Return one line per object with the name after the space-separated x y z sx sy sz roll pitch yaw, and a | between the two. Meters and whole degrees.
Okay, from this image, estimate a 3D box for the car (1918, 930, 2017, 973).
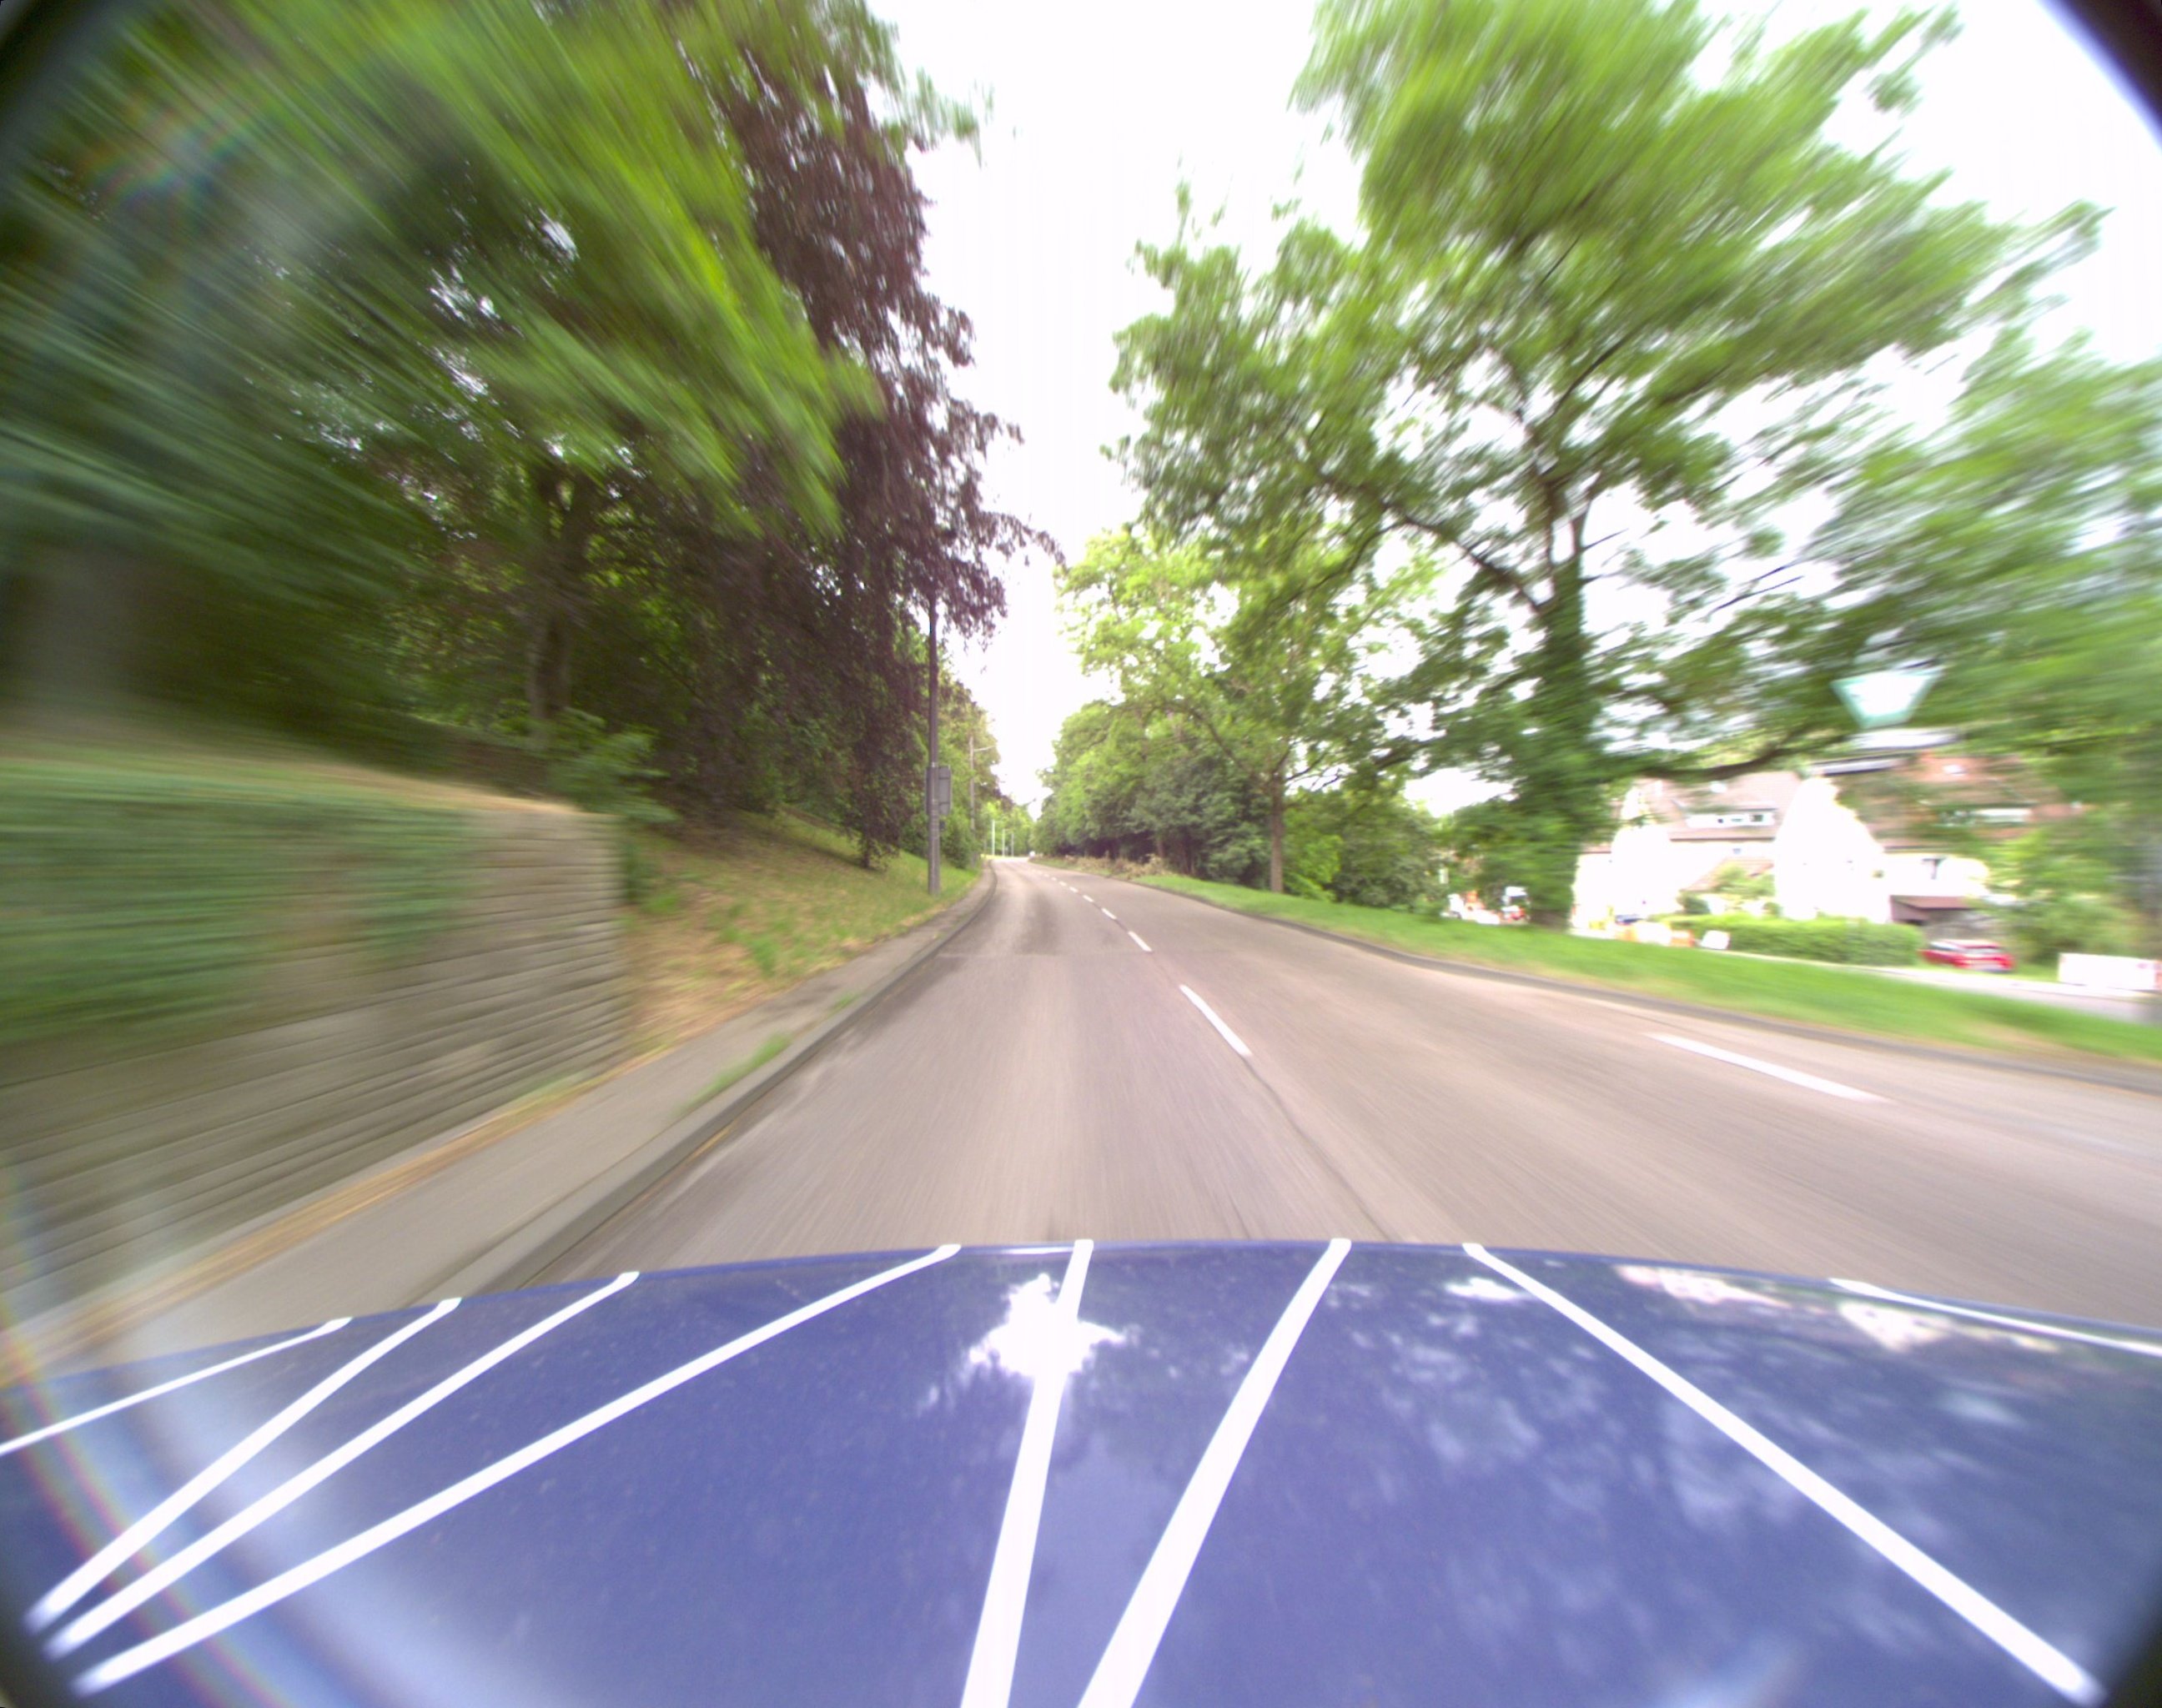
37.874 4.122 32.572 1.751 1.381 4.010 6 0 36 | car

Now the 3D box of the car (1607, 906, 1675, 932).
43.371 5.056 58.913 3.843 1.870 1.722 -1 -1 12 | car

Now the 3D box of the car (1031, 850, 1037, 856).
-15.163 -0.212 245.475 1.999 1.936 4.942 0 1 -5 | car
